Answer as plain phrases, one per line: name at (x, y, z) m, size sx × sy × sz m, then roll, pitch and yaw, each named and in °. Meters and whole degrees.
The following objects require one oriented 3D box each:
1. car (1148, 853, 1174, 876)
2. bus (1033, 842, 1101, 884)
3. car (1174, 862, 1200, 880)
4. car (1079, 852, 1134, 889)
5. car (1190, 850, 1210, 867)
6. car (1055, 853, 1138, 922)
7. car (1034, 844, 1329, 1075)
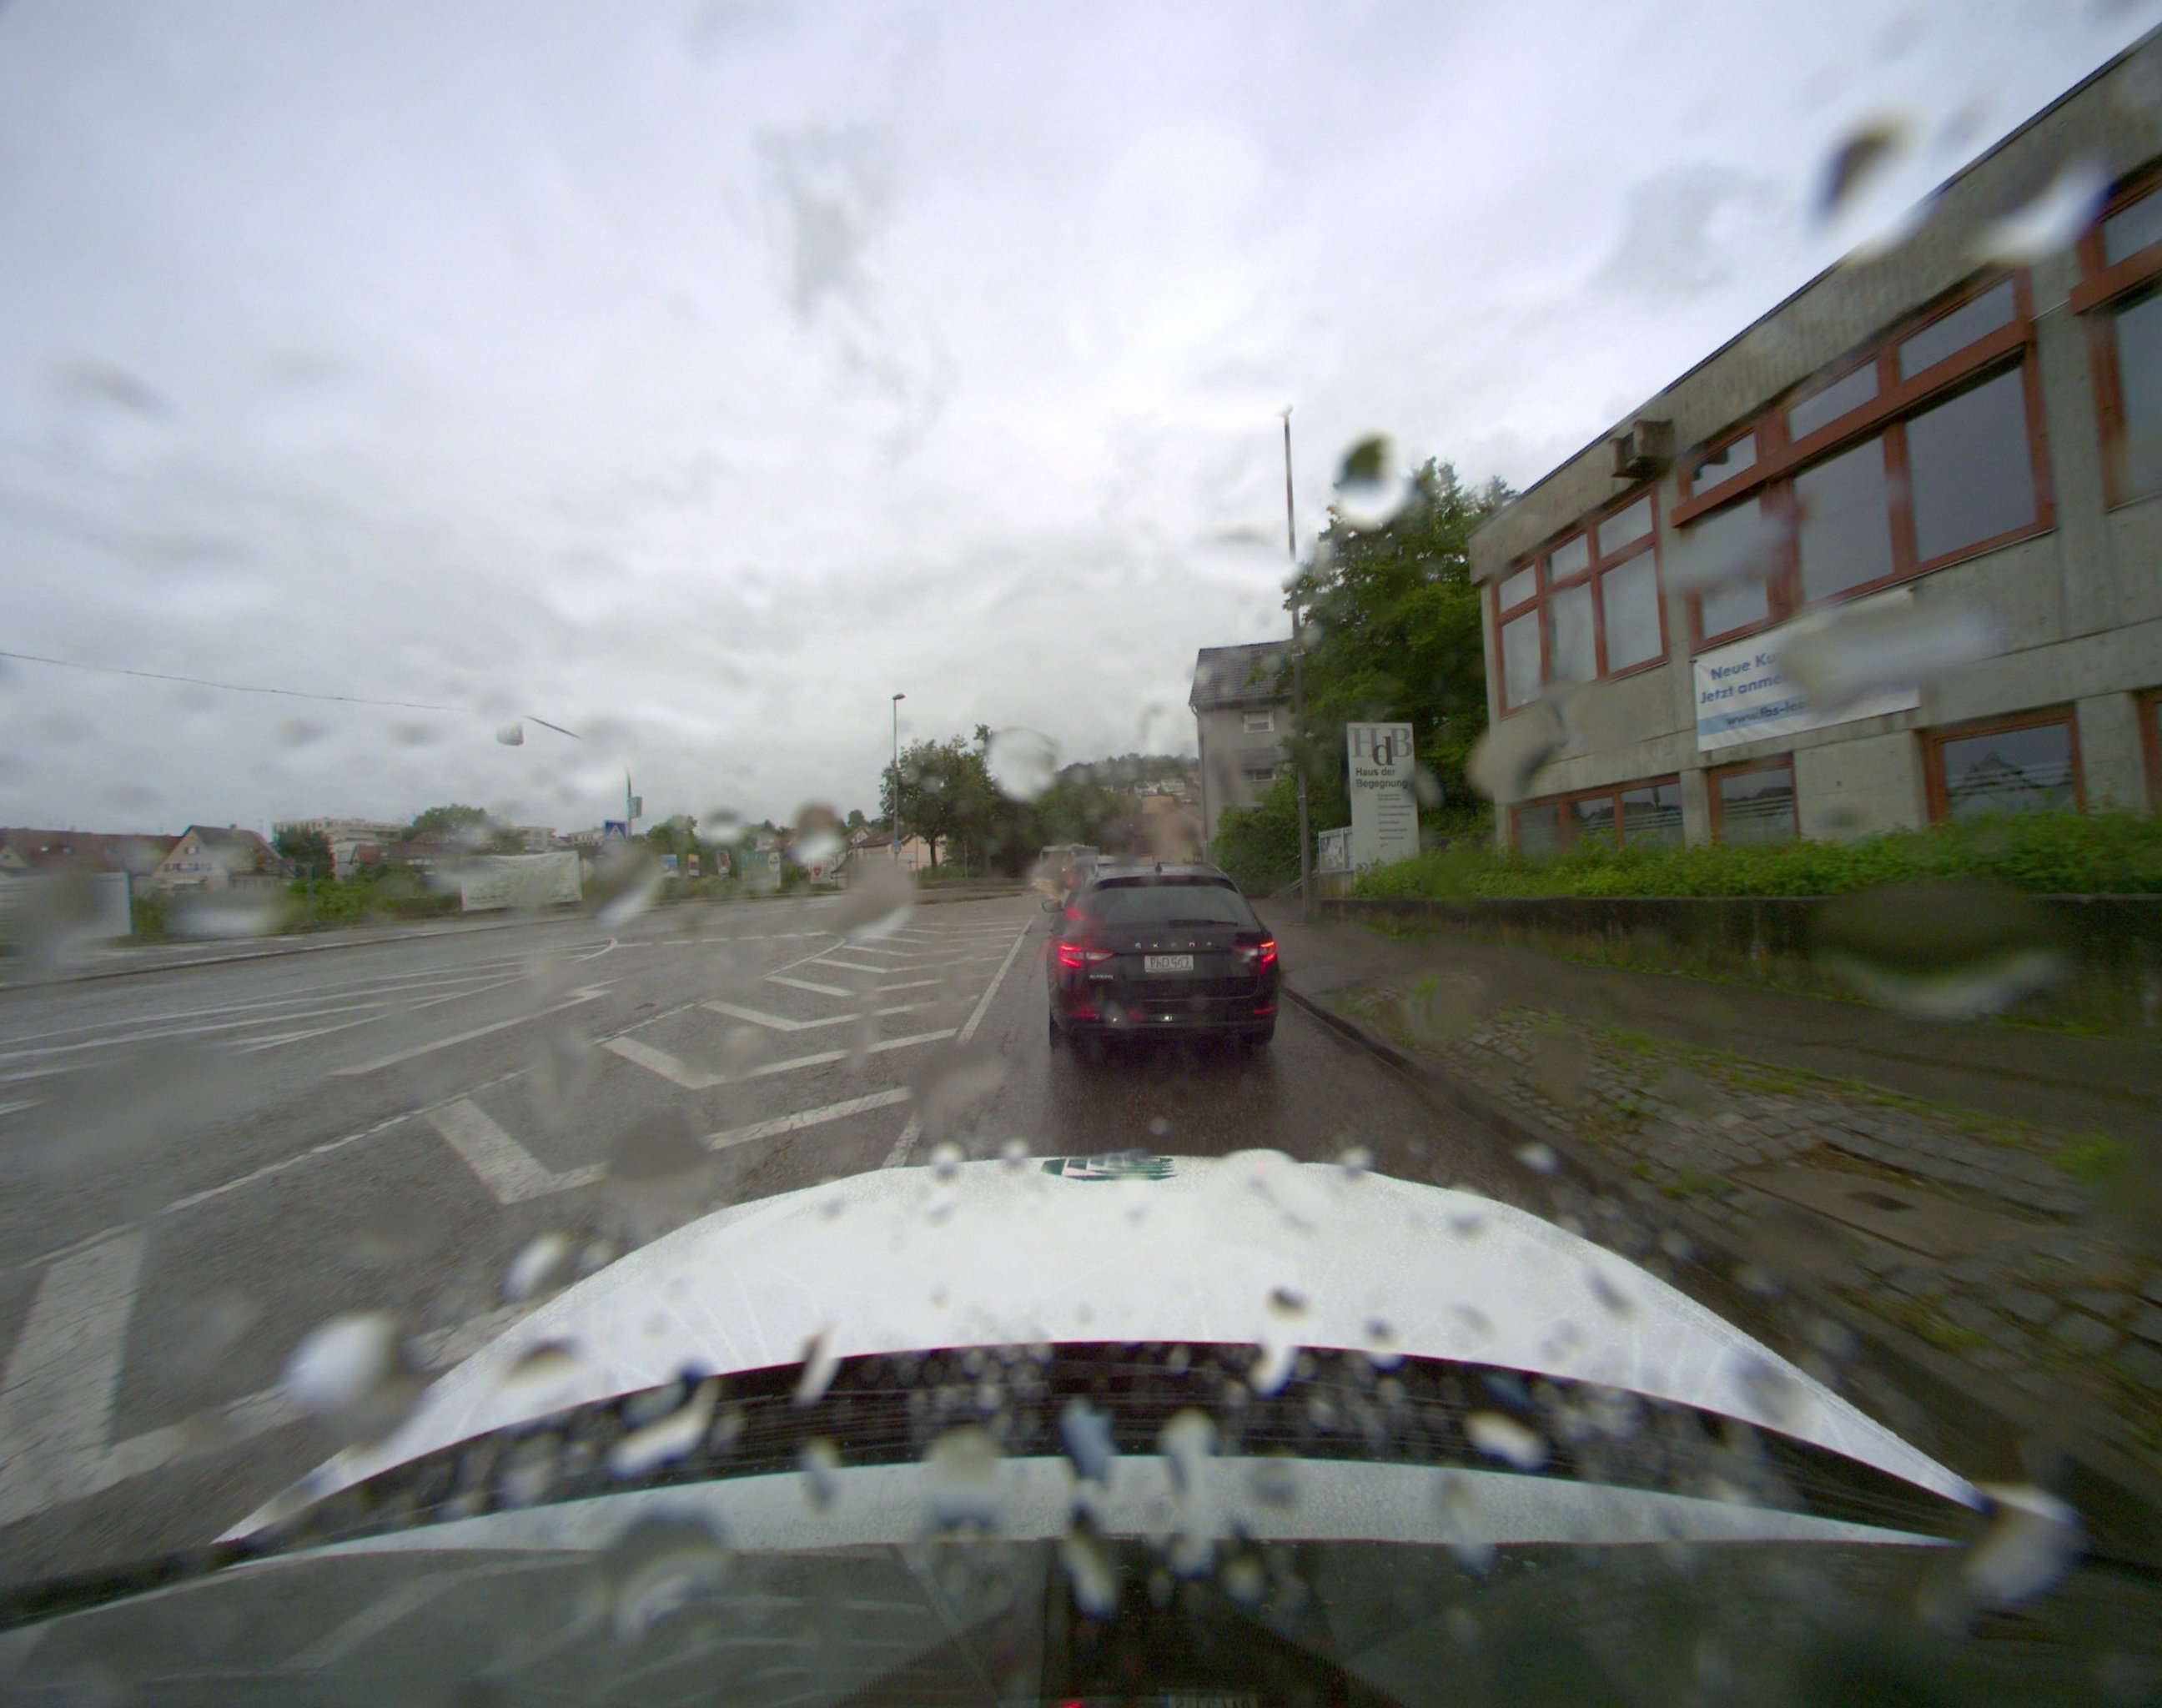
car at (5.827, 0.719, 59.107) m, size 1.557 × 1.530 × 4.011 m, roll -2°, pitch 0°, yaw 10°
bus at (-0.856, 0.568, 56.661) m, size 2.377 × 2.676 × 7.082 m, roll -2°, pitch 0°, yaw 19°
car at (9.843, 1.591, 75.506) m, size 1.980 × 1.453 × 3.784 m, roll -4°, pitch -1°, yaw 13°
car at (1.131, 0.667, 33.809) m, size 1.838 × 1.410 × 4.310 m, roll -2°, pitch -1°, yaw 7°
car at (15.196, 0.575, 104.124) m, size 1.987 × 2.014 × 4.000 m, roll -1°, pitch -1°, yaw 1°
car at (0.472, 0.794, 20.465) m, size 1.821 × 1.500 × 4.172 m, roll -1°, pitch -1°, yaw 3°
car at (0.660, 0.739, 7.695) m, size 1.948 × 1.507 × 4.607 m, roll 1°, pitch -1°, yaw 0°
